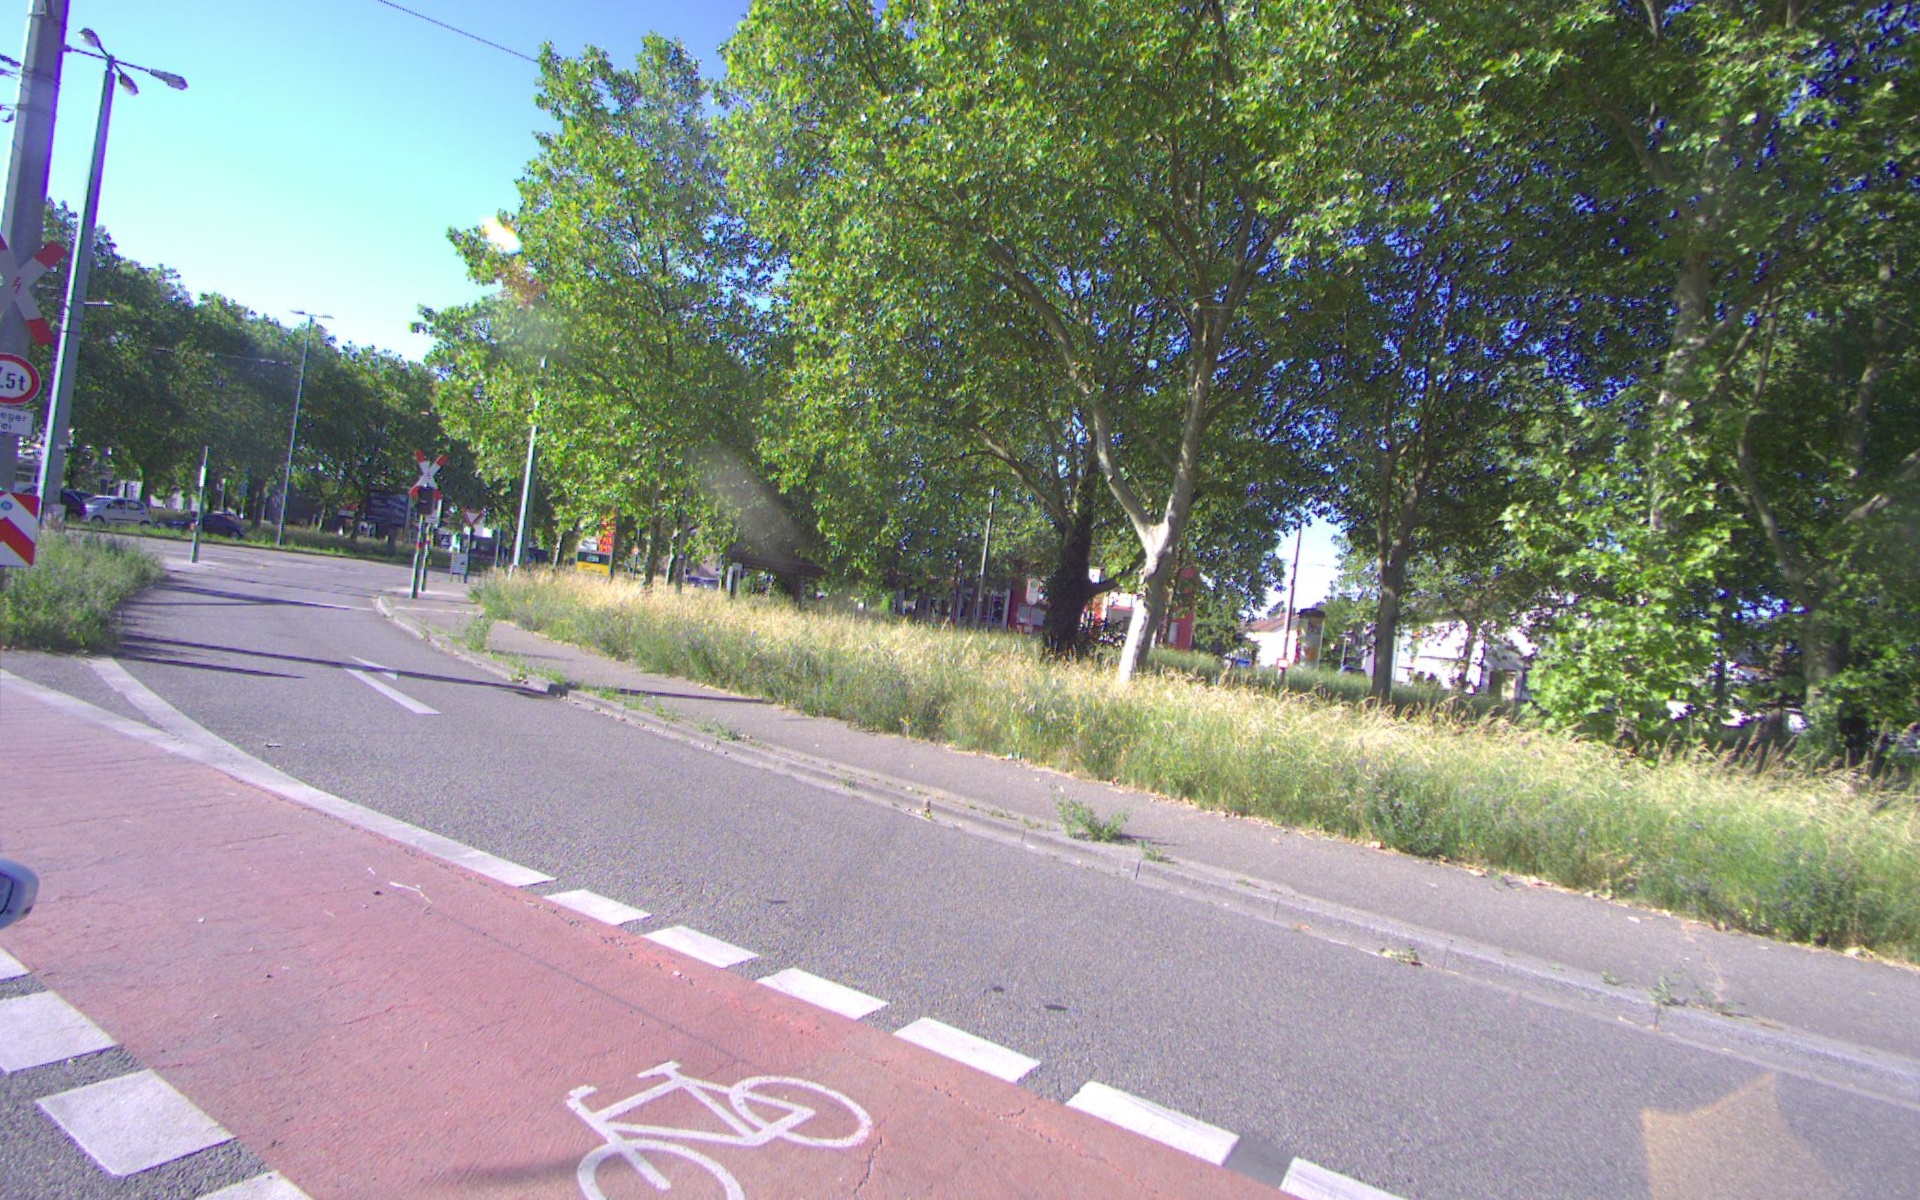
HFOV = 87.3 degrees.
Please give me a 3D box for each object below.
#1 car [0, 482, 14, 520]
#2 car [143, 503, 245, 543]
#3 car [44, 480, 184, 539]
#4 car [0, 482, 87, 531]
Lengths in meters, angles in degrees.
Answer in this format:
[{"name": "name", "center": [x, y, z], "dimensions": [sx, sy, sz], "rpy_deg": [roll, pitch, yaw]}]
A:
[{"name": "car", "center": [-41.046, -4.303, 40.580], "dimensions": [1.575, 1.549, 4.002], "rpy_deg": [7, 0, 9]}, {"name": "car", "center": [-42.902, -4.271, 56.479], "dimensions": [1.661, 1.593, 4.528], "rpy_deg": [7, -1, 9]}, {"name": "car", "center": [-40.472, -4.267, 48.304], "dimensions": [1.962, 2.038, 4.907], "rpy_deg": [7, -1, 9]}, {"name": "car", "center": [-37.793, -3.829, 40.373], "dimensions": [1.562, 1.563, 3.986], "rpy_deg": [7, -1, 8]}]
